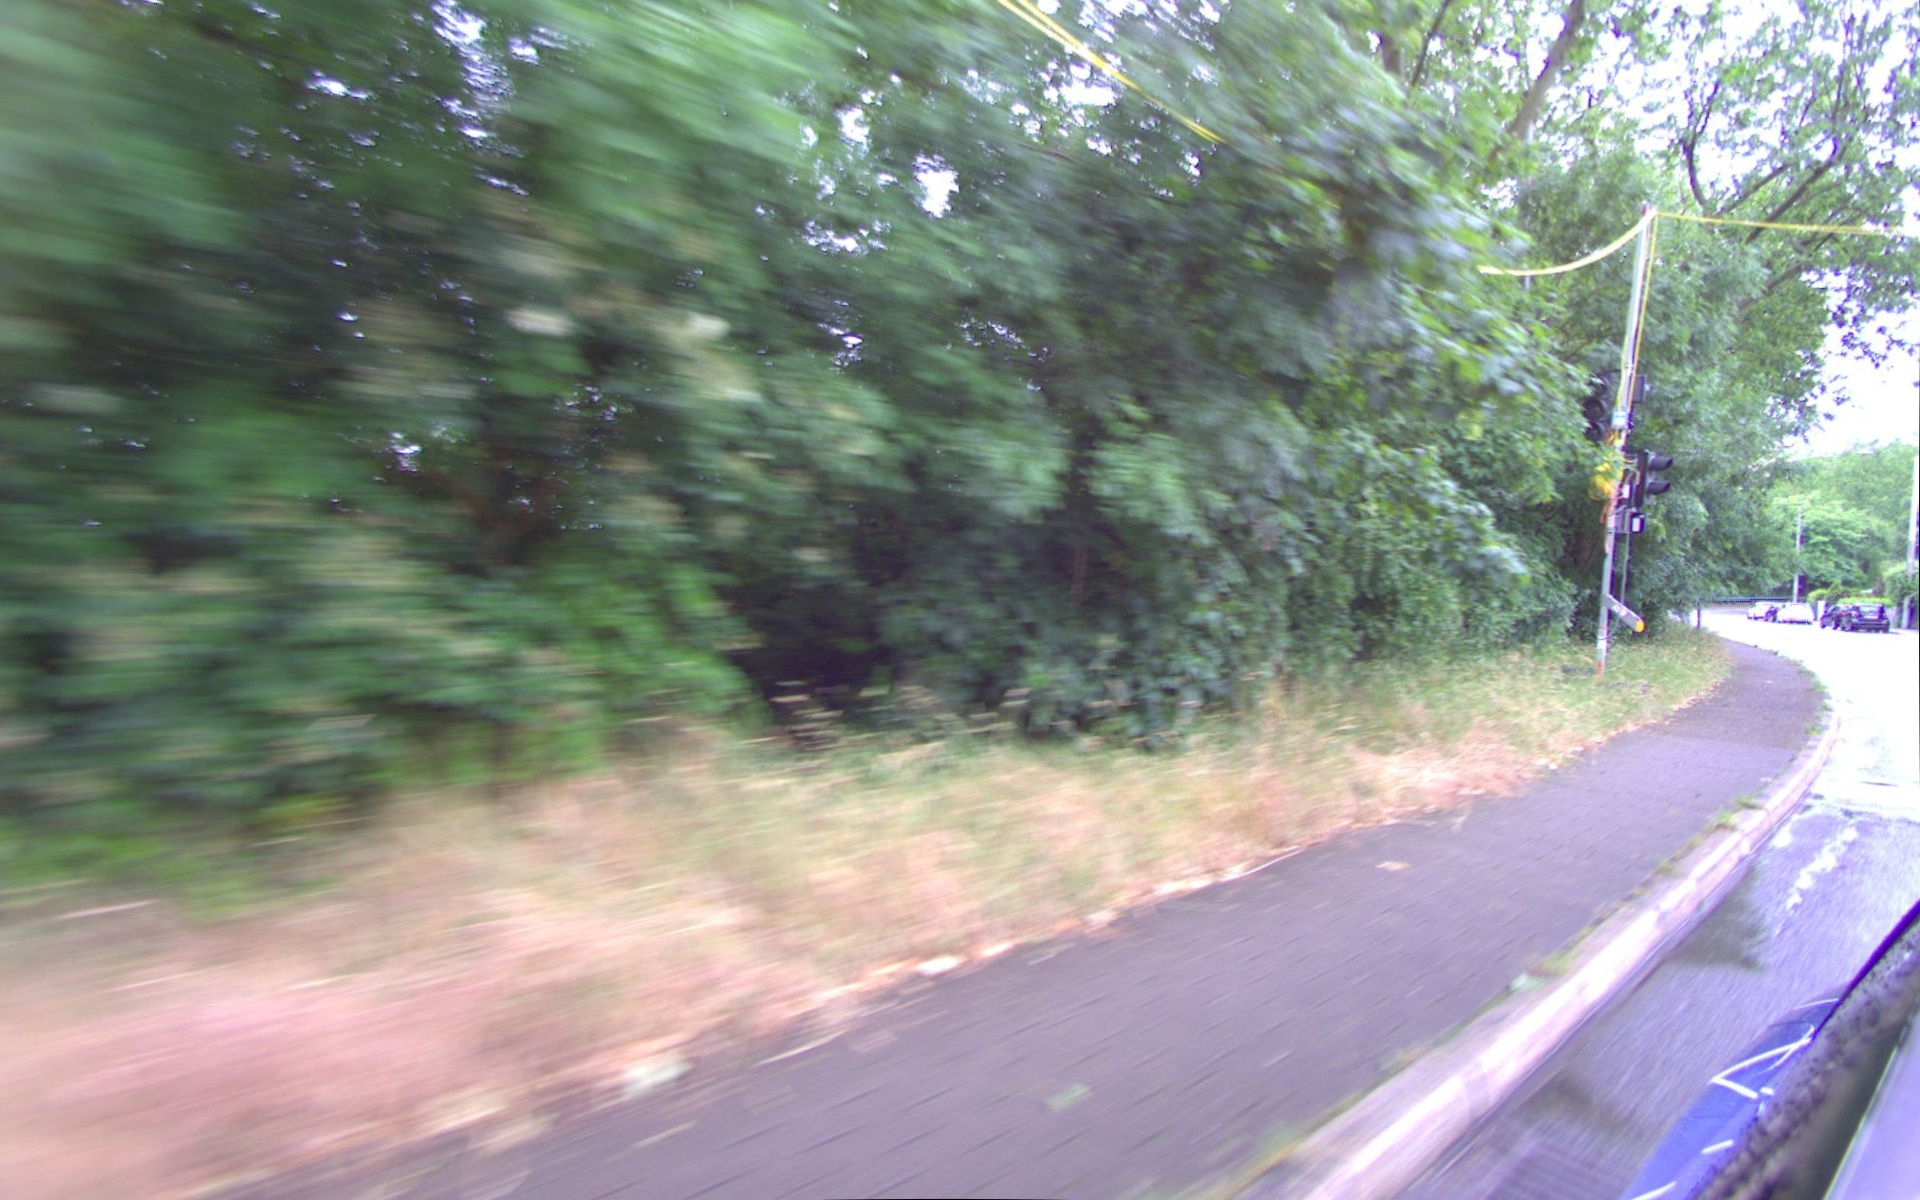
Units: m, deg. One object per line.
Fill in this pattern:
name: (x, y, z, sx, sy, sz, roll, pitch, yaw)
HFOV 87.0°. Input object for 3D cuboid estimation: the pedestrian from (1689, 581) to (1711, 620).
pedestrian: (31.457, 0.012, 43.044, 0.638, 1.631, 0.663, 2, 2, 30)

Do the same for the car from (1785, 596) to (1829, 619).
car: (59.281, 0.494, 70.880, 1.689, 1.486, 3.672, 1, 1, 30)

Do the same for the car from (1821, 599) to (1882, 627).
car: (51.311, 0.702, 58.311, 1.678, 1.436, 4.173, 3, 2, 28)

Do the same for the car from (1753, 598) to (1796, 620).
car: (64.128, 0.718, 79.711, 1.721, 1.439, 4.245, -3, 1, 27)

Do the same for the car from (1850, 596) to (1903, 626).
car: (49.327, 0.574, 54.513, 1.513, 1.472, 2.995, 3, 2, 31)
